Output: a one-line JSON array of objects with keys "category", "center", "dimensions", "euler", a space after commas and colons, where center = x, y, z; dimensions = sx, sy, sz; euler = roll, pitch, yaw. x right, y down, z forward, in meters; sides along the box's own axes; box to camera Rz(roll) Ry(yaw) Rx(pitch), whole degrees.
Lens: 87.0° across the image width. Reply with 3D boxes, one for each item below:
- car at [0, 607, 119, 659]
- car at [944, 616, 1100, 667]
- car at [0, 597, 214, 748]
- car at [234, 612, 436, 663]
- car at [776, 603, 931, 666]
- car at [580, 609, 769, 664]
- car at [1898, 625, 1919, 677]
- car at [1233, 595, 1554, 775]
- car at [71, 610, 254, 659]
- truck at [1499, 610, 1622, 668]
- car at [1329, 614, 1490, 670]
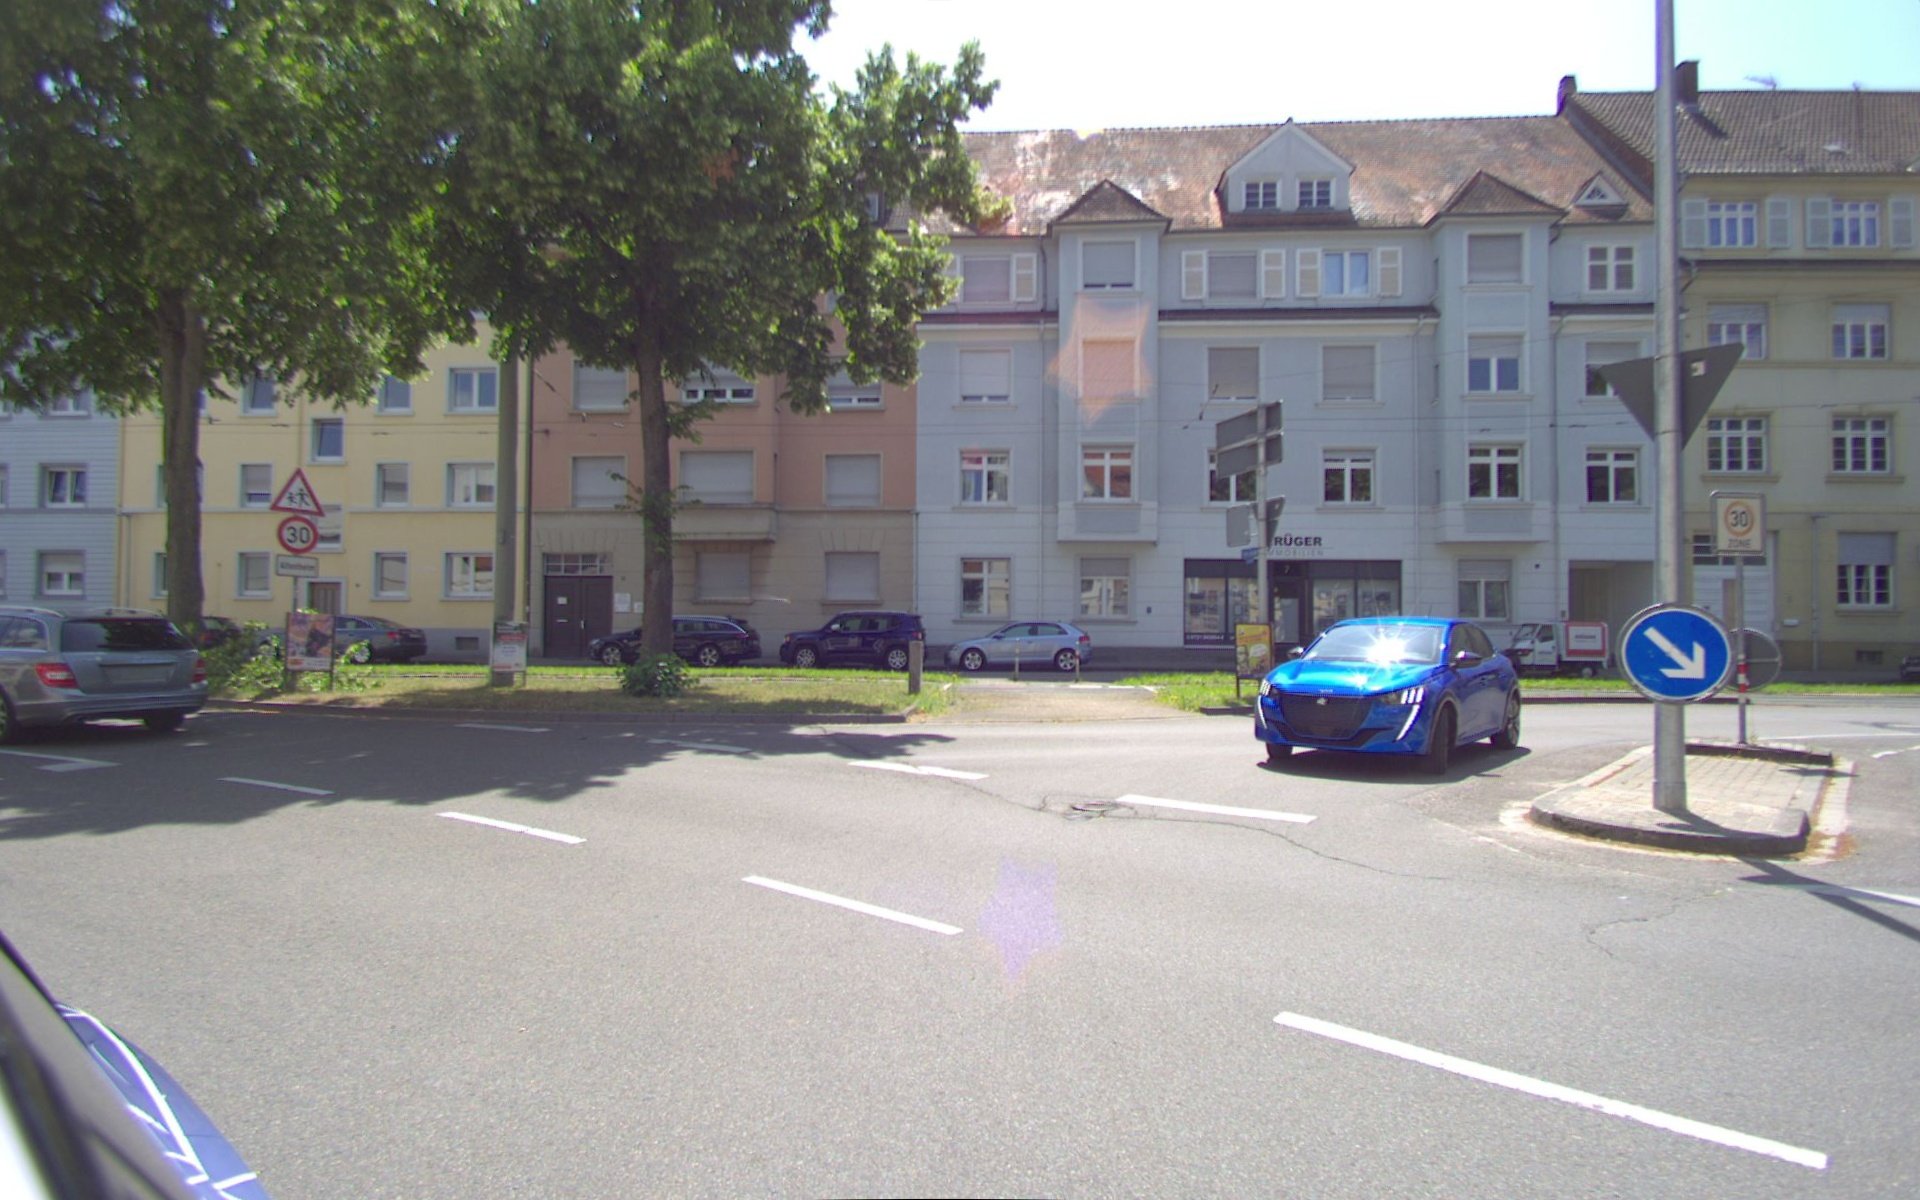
[{"category": "car", "center": [-28.322, 1.014, 30.565], "dimensions": [4.268, 1.516, 1.932], "euler": [0, -3, 2]}, {"category": "car", "center": [1.707, 1.161, 28.134], "dimensions": [4.195, 1.367, 1.810], "euler": [0, -3, 4]}, {"category": "car", "center": [-10.904, 0.737, 11.763], "dimensions": [4.382, 1.499, 1.728], "euler": [0, -1, 25]}, {"category": "car", "center": [-18.122, 1.110, 29.459], "dimensions": [4.802, 1.408, 1.931], "euler": [0, -3, 5]}, {"category": "car", "center": [-2.938, 0.993, 28.430], "dimensions": [4.089, 1.698, 1.840], "euler": [0, -3, 4]}, {"category": "car", "center": [-8.030, 1.056, 28.755], "dimensions": [4.800, 1.502, 1.931], "euler": [0, -3, 4]}, {"category": "car", "center": [26.991, 1.319, 26.101], "dimensions": [3.808, 1.370, 1.689], "euler": [0, -3, 4]}, {"category": "car", "center": [4.628, 0.780, 10.527], "dimensions": [1.815, 1.503, 3.943], "euler": [-2, -3, 43]}, {"category": "car", "center": [-23.561, 1.033, 29.990], "dimensions": [4.089, 1.411, 1.834], "euler": [0, -3, 5]}, {"category": "truck", "center": [16.097, 1.059, 27.194], "dimensions": [2.560, 1.506, 1.128], "euler": [0, -3, 3]}, {"category": "car", "center": [12.043, 1.129, 27.273], "dimensions": [3.579, 1.462, 1.574], "euler": [0, -3, 4]}]
